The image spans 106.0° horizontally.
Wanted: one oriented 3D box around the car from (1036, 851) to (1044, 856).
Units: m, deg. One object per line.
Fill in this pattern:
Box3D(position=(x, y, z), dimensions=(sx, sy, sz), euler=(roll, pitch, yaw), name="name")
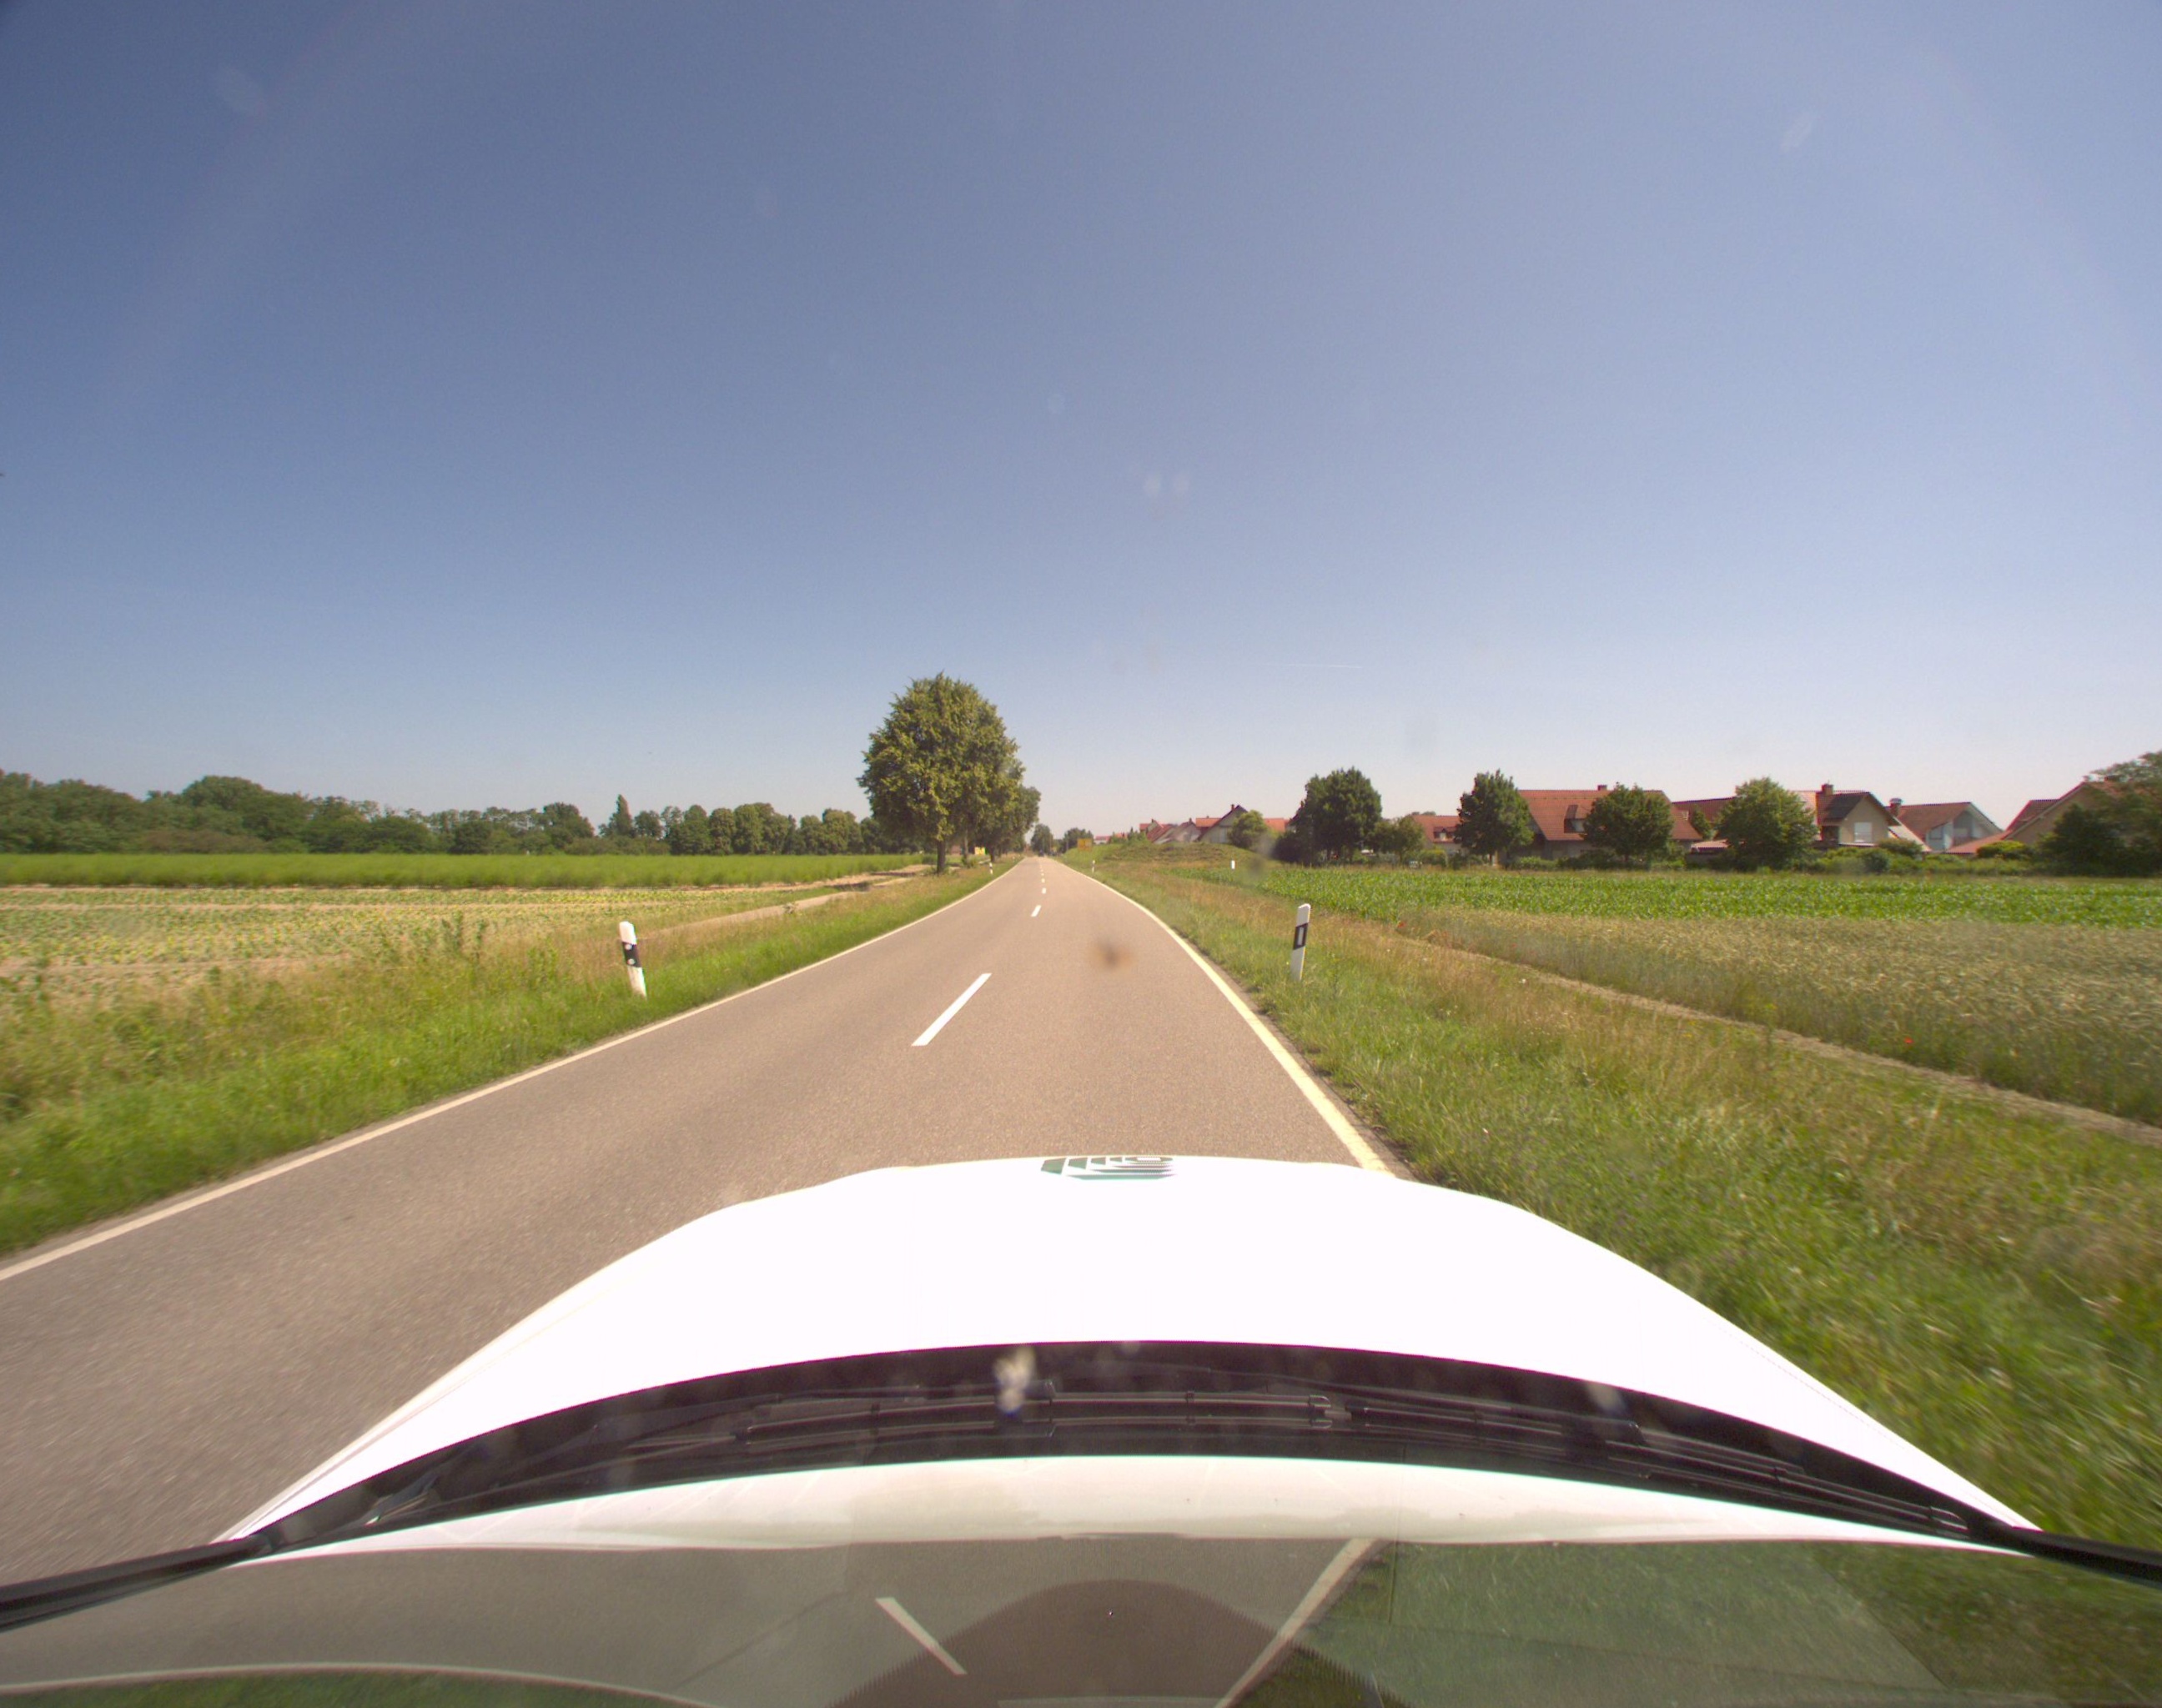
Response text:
Box3D(position=(-12.081, -0.196, 238.869), dimensions=(1.831, 1.536, 3.613), euler=(-1, 0, 3), name="car")
